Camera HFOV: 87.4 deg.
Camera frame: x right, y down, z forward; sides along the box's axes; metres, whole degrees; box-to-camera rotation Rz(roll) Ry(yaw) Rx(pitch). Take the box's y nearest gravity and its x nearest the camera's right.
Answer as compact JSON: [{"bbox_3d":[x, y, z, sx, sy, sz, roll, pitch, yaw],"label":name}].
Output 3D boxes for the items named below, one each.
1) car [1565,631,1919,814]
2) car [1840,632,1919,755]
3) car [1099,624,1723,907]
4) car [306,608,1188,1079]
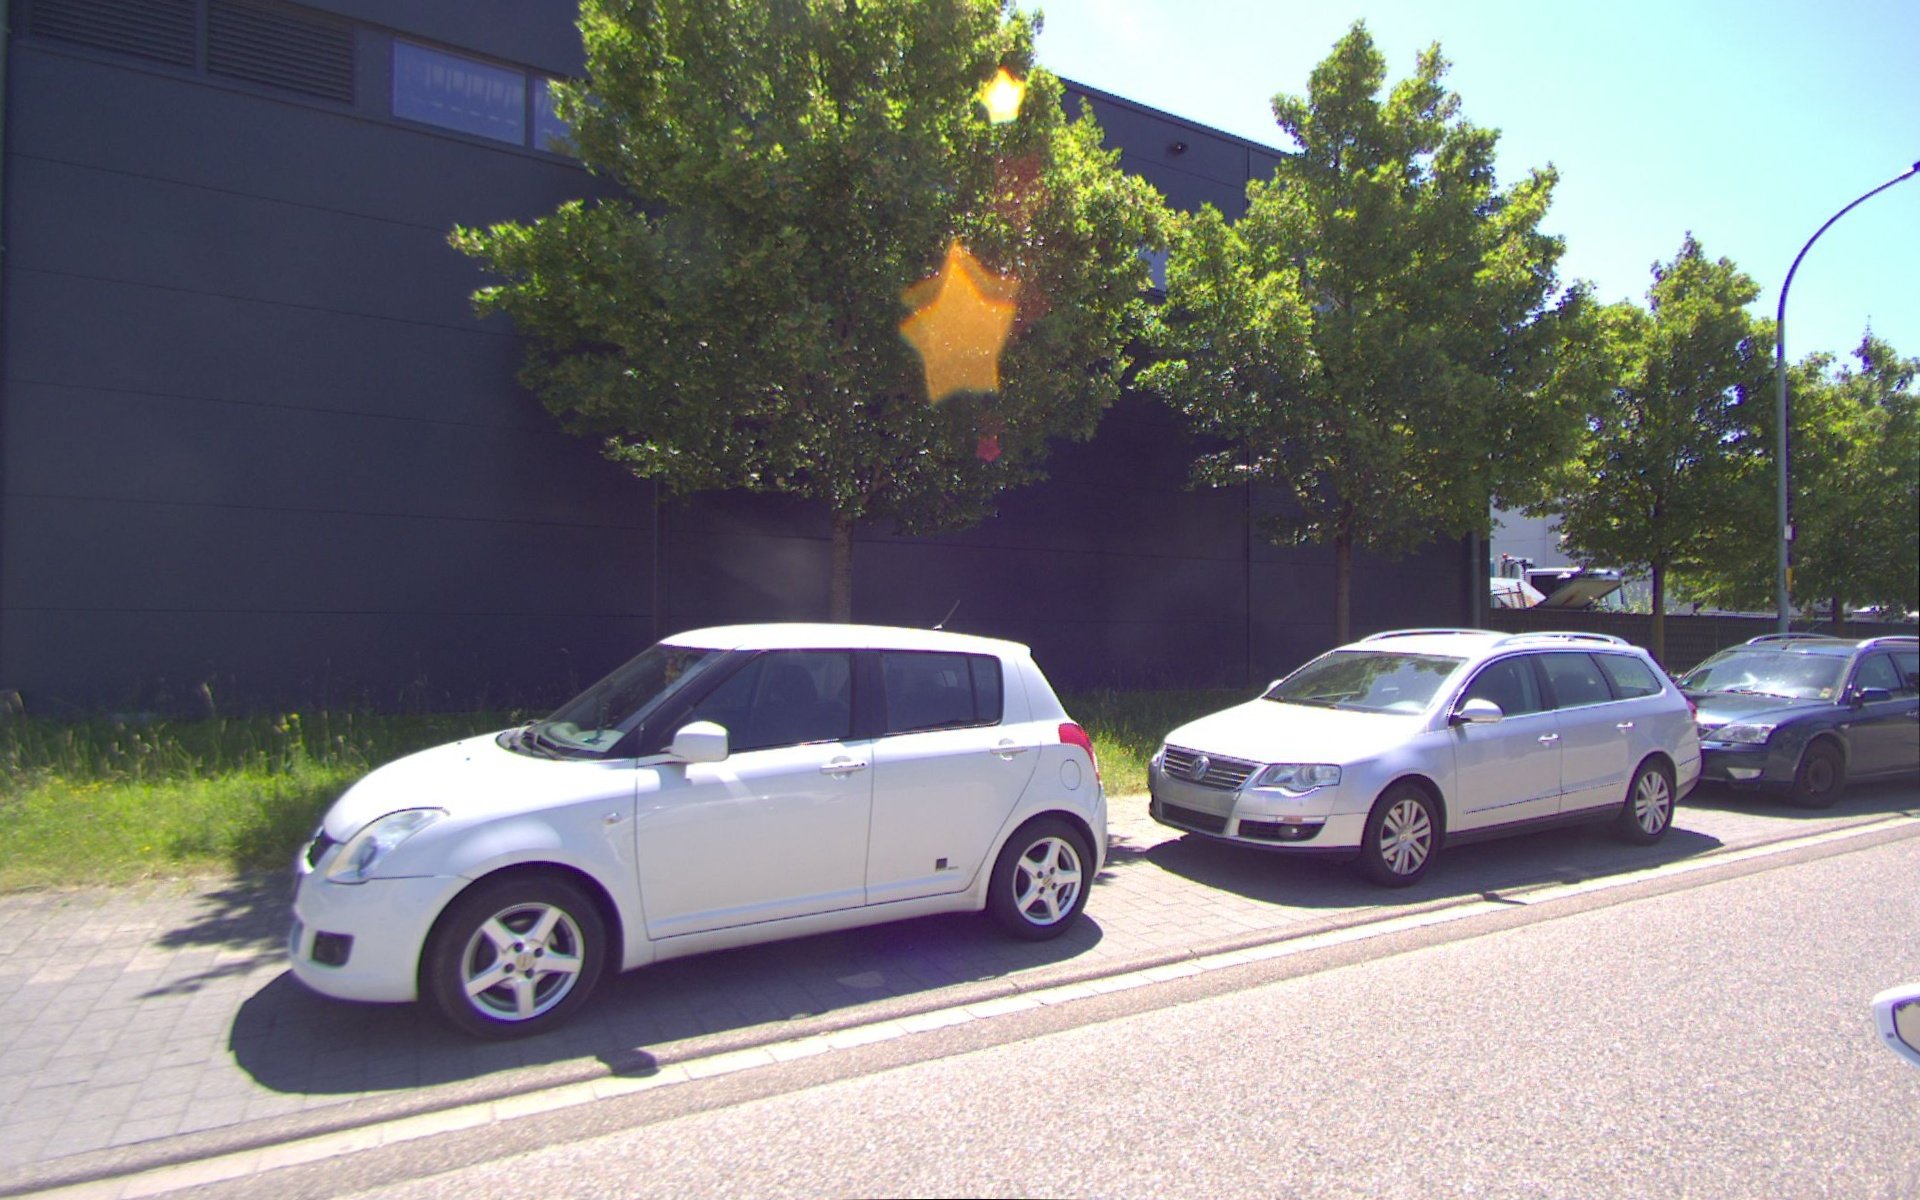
[{"bbox_3d":[8.518,1.104,10.165,4.571,1.495,1.795,1,-1,-23],"label":"car"},{"bbox_3d":[13.896,1.217,13.474,4.534,1.495,1.791,2,-1,-30],"label":"car"},{"bbox_3d":[3.364,0.960,7.284,4.498,1.495,1.792,2,-1,-29],"label":"car"},{"bbox_3d":[-0.884,0.827,4.945,3.814,1.495,1.711,2,-1,-32],"label":"car"}]
